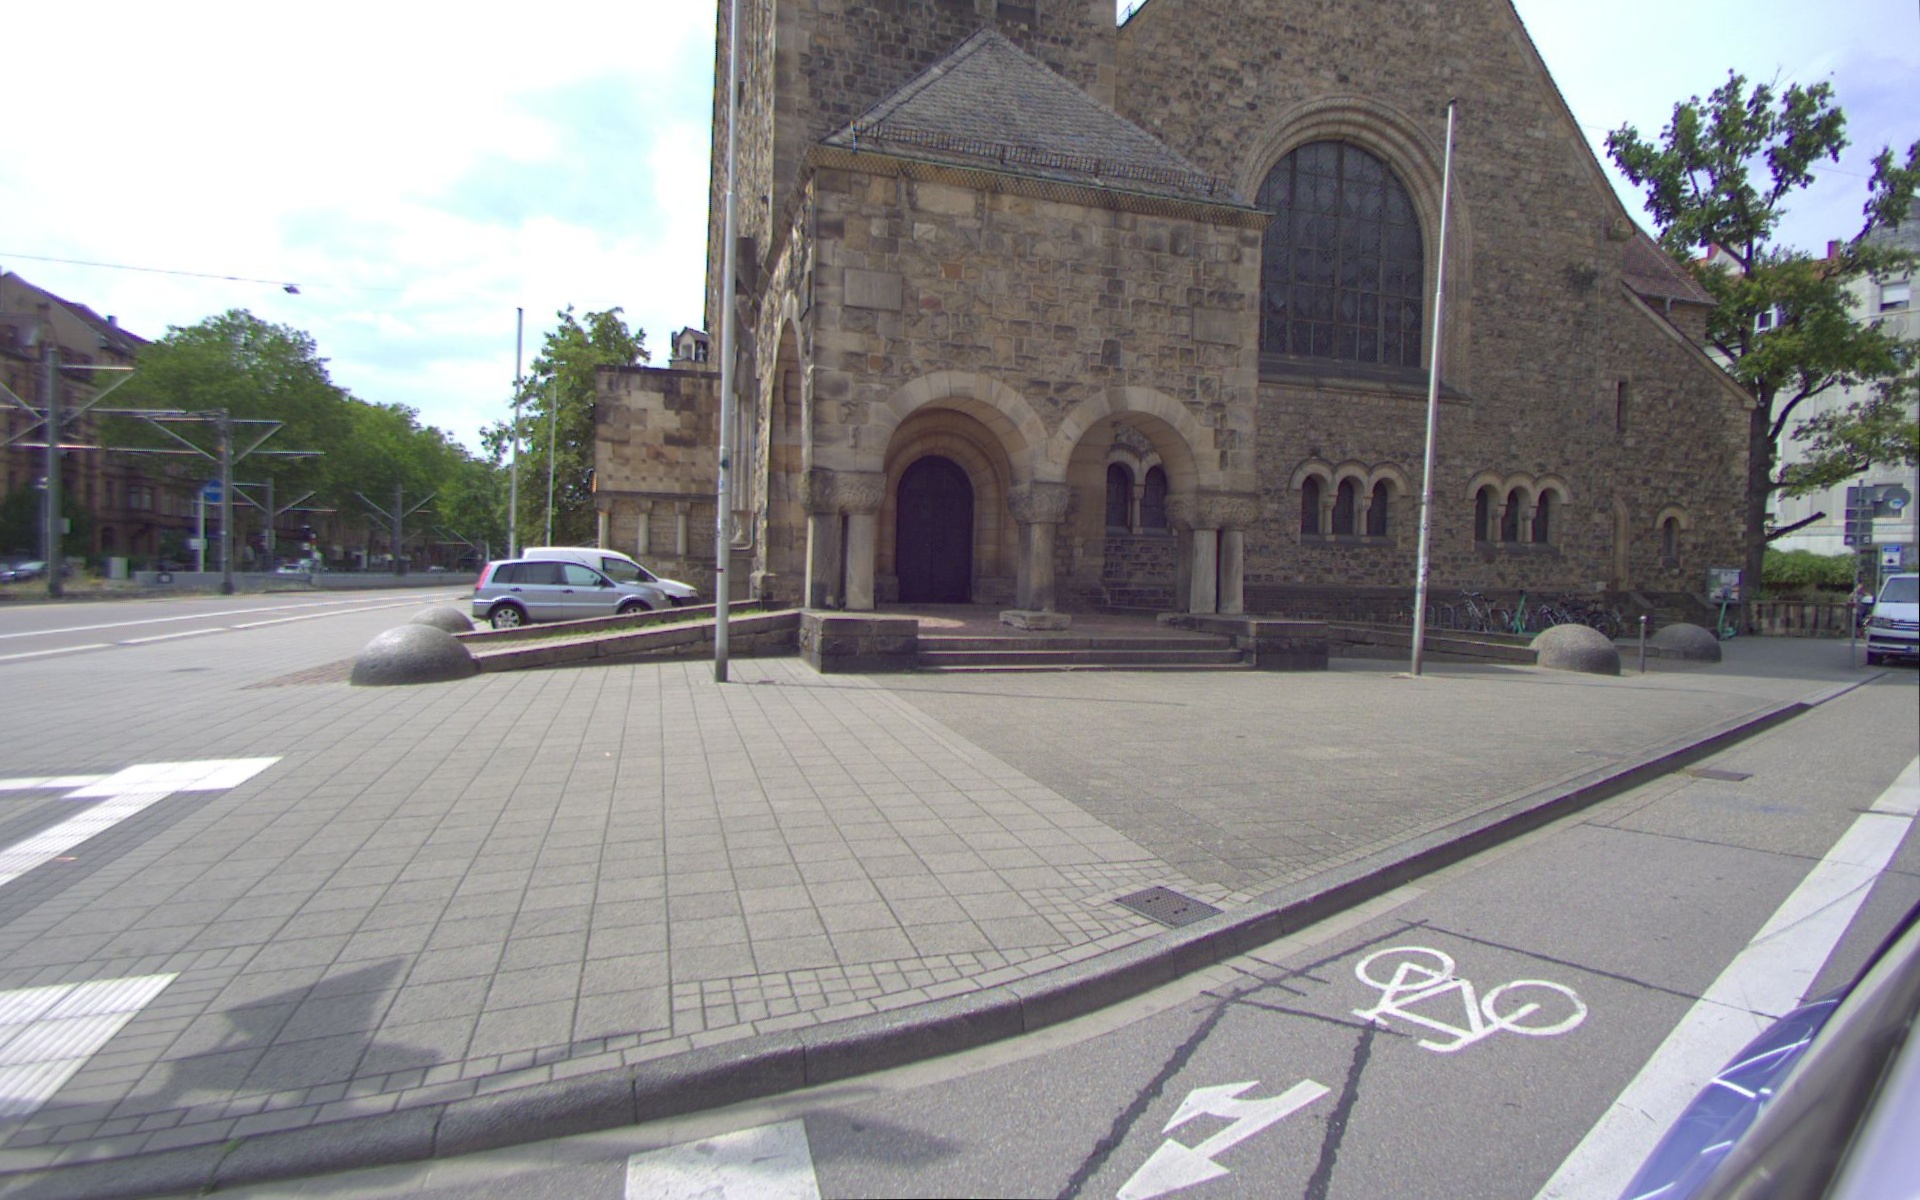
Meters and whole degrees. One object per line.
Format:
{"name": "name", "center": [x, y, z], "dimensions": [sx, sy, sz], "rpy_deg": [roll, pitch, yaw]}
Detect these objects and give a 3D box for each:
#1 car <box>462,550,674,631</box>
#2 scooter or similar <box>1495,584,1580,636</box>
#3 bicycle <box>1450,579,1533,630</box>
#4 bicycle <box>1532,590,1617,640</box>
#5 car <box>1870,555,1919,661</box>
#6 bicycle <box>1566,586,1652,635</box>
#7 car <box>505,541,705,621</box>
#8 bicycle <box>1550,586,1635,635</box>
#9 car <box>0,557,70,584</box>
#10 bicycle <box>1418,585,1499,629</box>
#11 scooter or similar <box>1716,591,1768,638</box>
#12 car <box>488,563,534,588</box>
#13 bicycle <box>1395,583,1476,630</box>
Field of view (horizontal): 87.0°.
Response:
{"name": "car", "center": [-8.091, -0.201, 21.262], "dimensions": [3.942, 1.562, 2.024], "rpy_deg": [1, 1, -17]}
{"name": "scooter or similar", "center": [13.899, 0.221, 24.414], "dimensions": [0.534, 1.154, 1.786], "rpy_deg": [1, 2, -22]}
{"name": "bicycle", "center": [12.661, 0.086, 24.152], "dimensions": [0.534, 1.125, 1.786], "rpy_deg": [1, 2, -22]}
{"name": "bicycle", "center": [15.012, 0.342, 24.782], "dimensions": [0.534, 1.125, 1.786], "rpy_deg": [1, 2, -22]}
{"name": "car", "center": [20.819, 0.188, 21.262], "dimensions": [5.036, 2.054, 2.017], "rpy_deg": [0, 3, -43]}
{"name": "bicycle", "center": [16.166, 0.246, 25.244], "dimensions": [0.534, 1.125, 1.786], "rpy_deg": [1, 2, -22]}
{"name": "car", "center": [-8.402, -0.442, 24.282], "dimensions": [4.328, 1.747, 1.956], "rpy_deg": [1, 1, -17]}
{"name": "bicycle", "center": [15.583, 0.238, 24.989], "dimensions": [0.534, 1.125, 1.779], "rpy_deg": [1, 2, -22]}
{"name": "car", "center": [-51.380, -1.649, 55.833], "dimensions": [1.722, 1.417, 4.009], "rpy_deg": [0, 2, -13]}
{"name": "bicycle", "center": [11.750, 0.152, 23.925], "dimensions": [0.534, 0.969, 1.786], "rpy_deg": [1, 2, -22]}
{"name": "scooter or similar", "center": [20.830, 0.387, 26.951], "dimensions": [1.413, 1.222, 0.547], "rpy_deg": [1, 1, -28]}
{"name": "car", "center": [-27.103, -1.507, 61.184], "dimensions": [1.911, 1.417, 4.009], "rpy_deg": [0, 2, -15]}
{"name": "bicycle", "center": [11.119, 0.133, 23.724], "dimensions": [0.534, 0.968, 1.787], "rpy_deg": [1, 3, -22]}
